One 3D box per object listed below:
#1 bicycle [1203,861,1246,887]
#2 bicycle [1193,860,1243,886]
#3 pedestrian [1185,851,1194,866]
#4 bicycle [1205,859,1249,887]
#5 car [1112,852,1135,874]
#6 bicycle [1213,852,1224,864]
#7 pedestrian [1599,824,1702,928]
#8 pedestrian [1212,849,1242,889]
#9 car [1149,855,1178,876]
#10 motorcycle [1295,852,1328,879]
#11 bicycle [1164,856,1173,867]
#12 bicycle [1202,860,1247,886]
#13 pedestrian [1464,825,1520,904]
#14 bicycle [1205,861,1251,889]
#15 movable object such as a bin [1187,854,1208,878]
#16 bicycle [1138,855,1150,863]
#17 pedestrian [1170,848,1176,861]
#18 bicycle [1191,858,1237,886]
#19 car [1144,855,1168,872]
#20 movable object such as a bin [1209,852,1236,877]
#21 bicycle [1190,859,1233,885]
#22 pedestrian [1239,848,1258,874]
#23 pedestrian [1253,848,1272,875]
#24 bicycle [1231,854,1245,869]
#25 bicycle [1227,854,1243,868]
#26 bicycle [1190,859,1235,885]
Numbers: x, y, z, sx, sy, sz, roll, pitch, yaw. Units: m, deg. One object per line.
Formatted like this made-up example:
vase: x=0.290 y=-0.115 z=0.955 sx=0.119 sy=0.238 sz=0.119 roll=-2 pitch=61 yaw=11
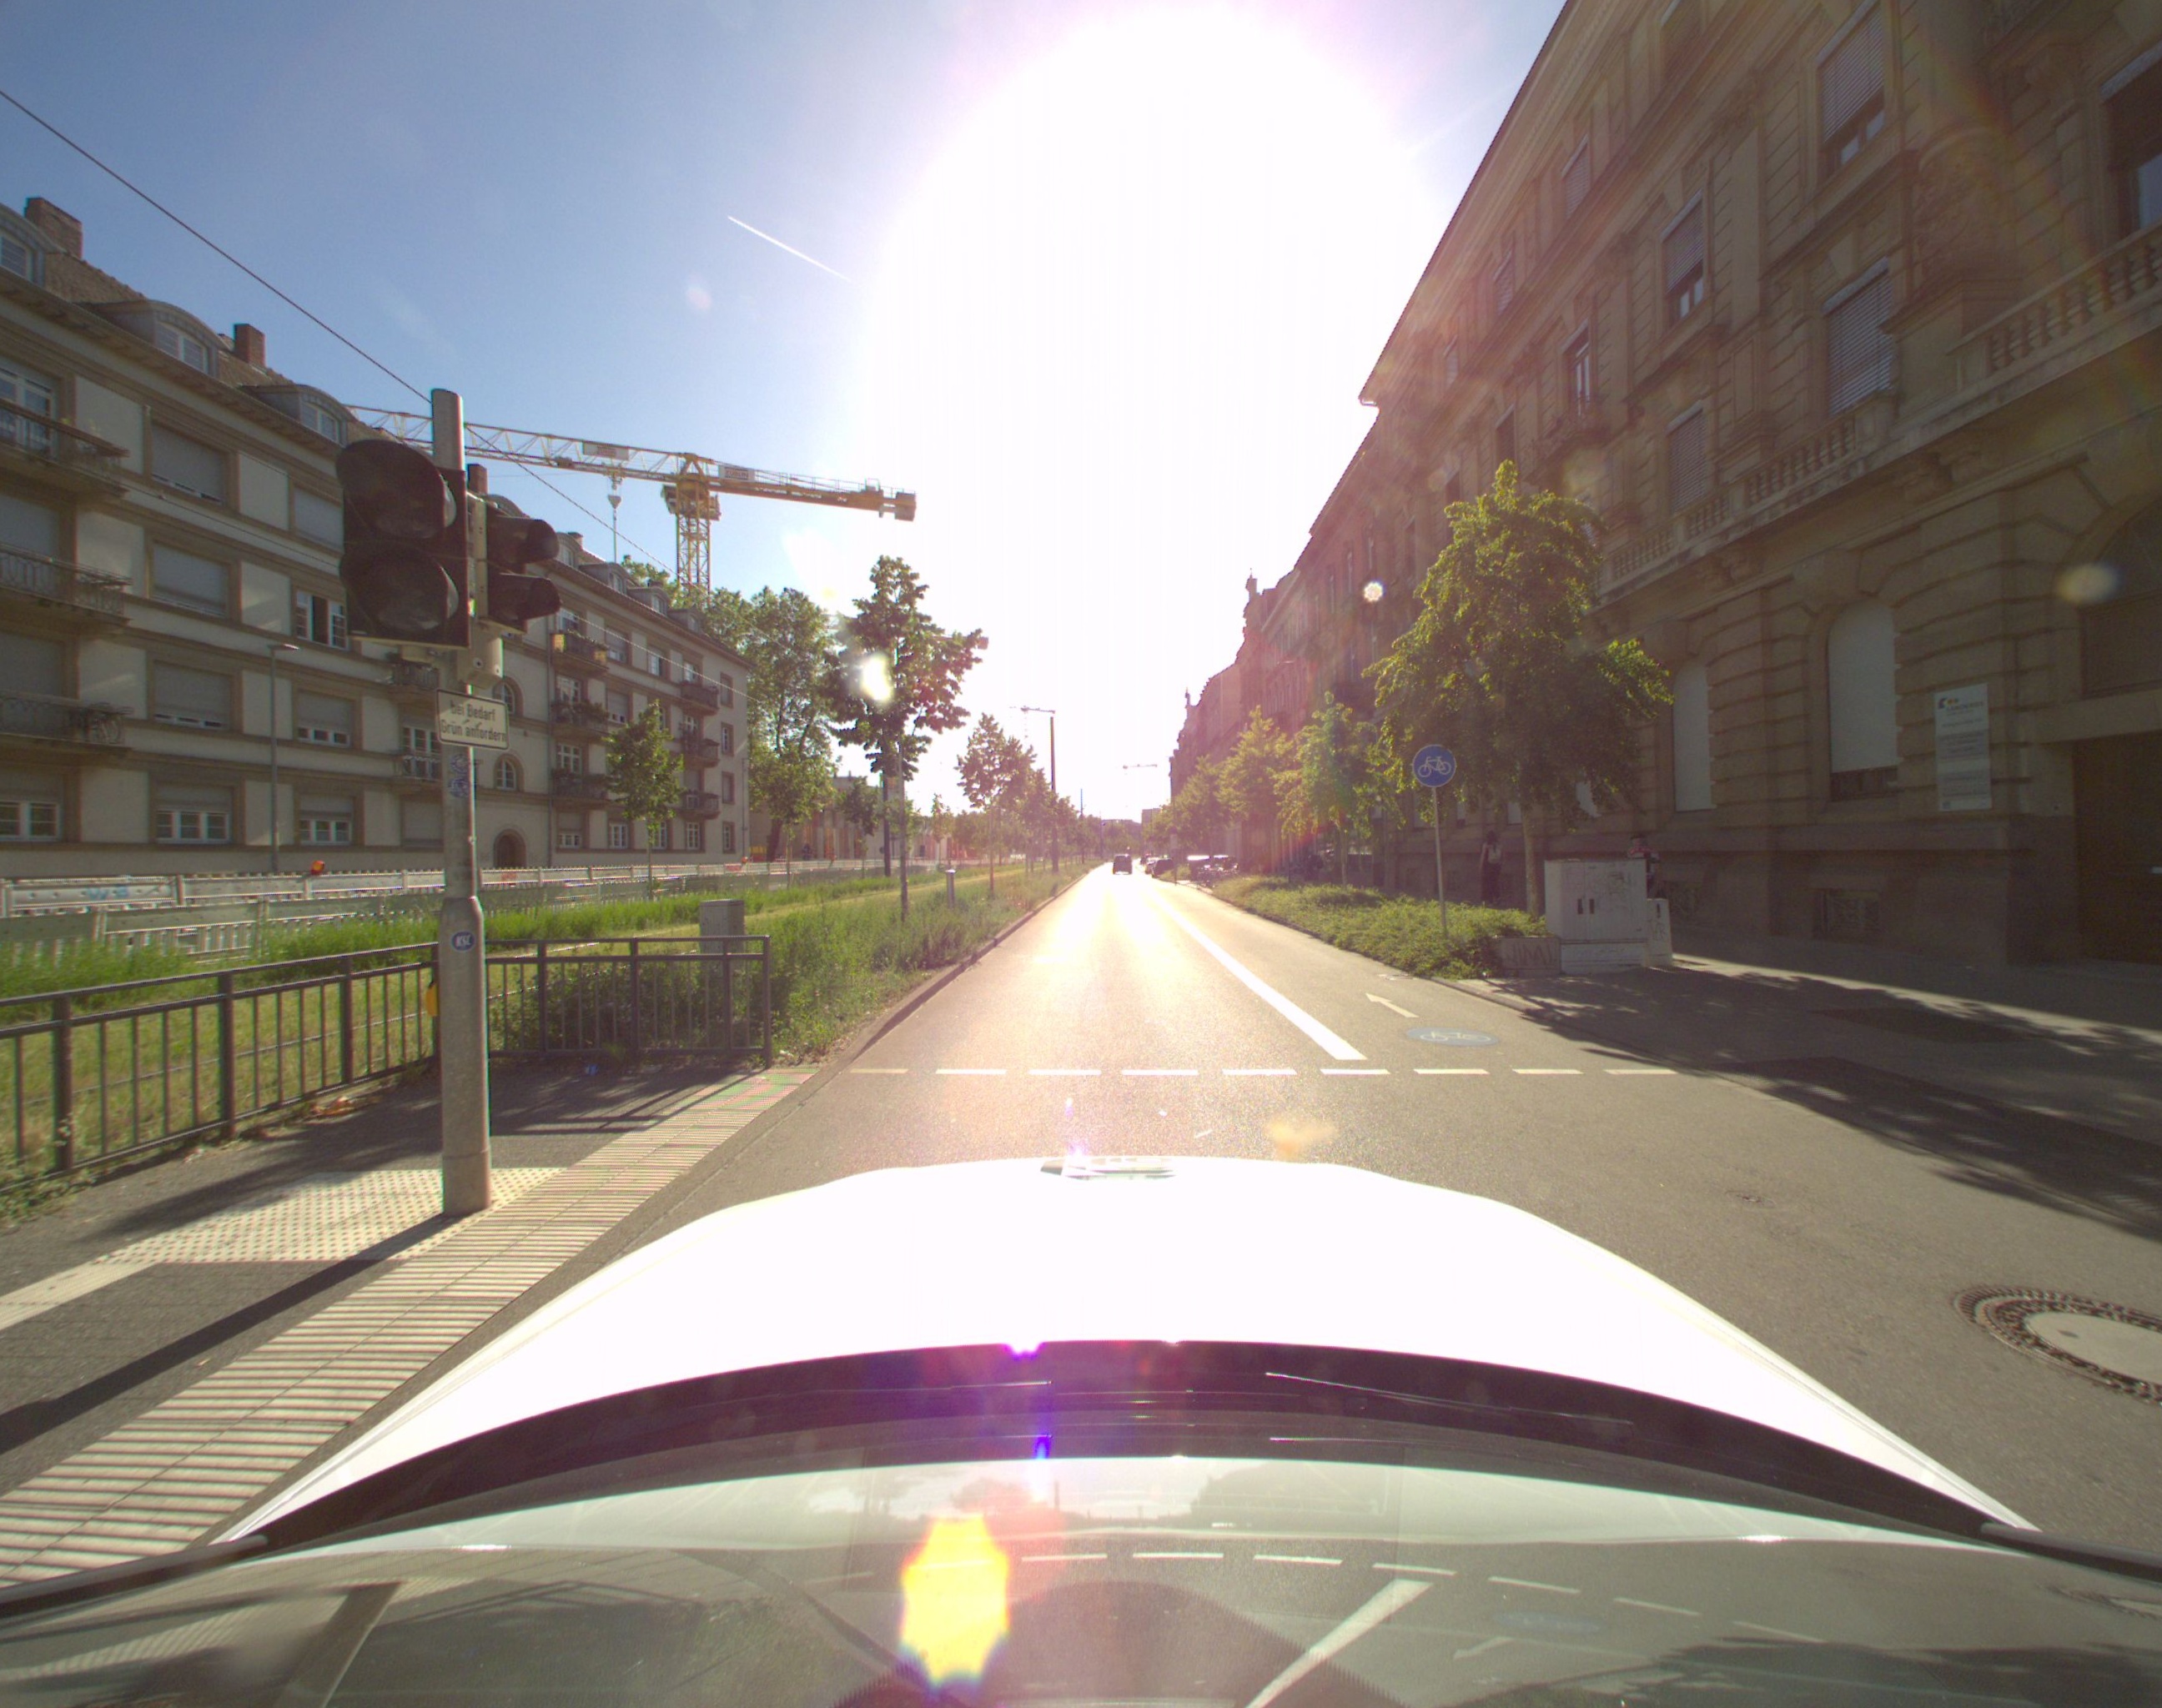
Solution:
bicycle: x=6.604 y=0.914 z=37.452 sx=1.811 sy=1.056 sz=0.571 roll=-3 pitch=-1 yaw=-4
bicycle: x=6.555 y=0.926 z=38.963 sx=2.287 sy=1.102 sz=0.484 roll=-3 pitch=-1 yaw=-13
pedestrian: x=13.175 y=0.552 z=98.881 sx=0.992 sy=1.731 sz=0.866 roll=0 pitch=-1 yaw=1
bicycle: x=6.498 y=0.858 z=36.336 sx=1.860 sy=1.179 sz=0.373 roll=-2 pitch=-1 yaw=-1
car: x=4.023 y=0.893 z=77.307 sx=1.987 sy=2.014 sz=3.999 roll=0 pitch=-1 yaw=0
bicycle: x=13.525 y=0.401 z=80.251 sx=0.718 sy=1.090 sz=2.200 roll=-2 pitch=0 yaw=2
pedestrian: x=9.947 y=0.373 z=14.268 sx=0.965 sy=1.692 sz=1.115 roll=-3 pitch=-1 yaw=3
pedestrian: x=6.724 y=0.702 z=37.587 sx=0.907 sy=1.735 sz=0.839 roll=-4 pitch=-1 yaw=-38
car: x=6.427 y=0.897 z=63.948 sx=1.760 sy=1.477 sz=4.447 roll=-4 pitch=-1 yaw=0
motorcycle: x=11.461 y=0.575 z=40.618 sx=0.862 sy=1.266 sz=2.983 roll=0 pitch=-1 yaw=2
bicycle: x=9.977 y=0.867 z=93.188 sx=0.649 sy=1.120 sz=2.169 roll=-3 pitch=-1 yaw=-3
bicycle: x=6.660 y=0.884 z=37.794 sx=1.971 sy=1.108 sz=0.435 roll=-3 pitch=-1 yaw=-1
pedestrian: x=10.510 y=0.270 z=20.862 sx=0.885 sy=1.920 sz=1.100 roll=-3 pitch=-1 yaw=7
bicycle: x=6.507 y=0.912 z=35.980 sx=1.887 sy=1.108 sz=0.517 roll=-3 pitch=-1 yaw=-4
movable object such as a bin: x=7.278 y=0.741 z=51.040 sx=1.264 sy=1.463 sz=1.647 roll=0 pitch=2 yaw=7
bicycle: x=10.306 y=0.790 z=133.981 sx=1.875 sy=1.233 sz=0.499 roll=-4 pitch=-1 yaw=-4
pedestrian: x=14.876 y=0.100 z=131.995 sx=0.814 sy=2.014 sz=1.046 roll=0 pitch=-3 yaw=2
bicycle: x=6.426 y=0.853 z=39.311 sx=2.148 sy=1.154 sz=0.428 roll=-4 pitch=0 yaw=-12
car: x=7.041 y=0.880 z=76.651 sx=1.944 sy=1.495 sz=5.108 roll=-3 pitch=0 yaw=2
movable object such as a bin: x=8.874 y=0.667 z=51.173 sx=1.368 sy=1.495 sz=1.750 roll=-4 pitch=-1 yaw=3
bicycle: x=6.526 y=0.889 z=40.802 sx=1.970 sy=1.124 sz=0.481 roll=-5 pitch=1 yaw=-4
pedestrian: x=10.478 y=0.437 z=50.967 sx=0.947 sy=1.566 sz=1.080 roll=-2 pitch=1 yaw=1
pedestrian: x=11.305 y=0.439 z=50.728 sx=0.967 sy=1.639 sz=0.993 roll=-2 pitch=1 yaw=2
bicycle: x=12.738 y=0.594 z=66.058 sx=0.745 sy=1.201 sz=1.802 roll=-2 pitch=-1 yaw=2
bicycle: x=13.032 y=0.595 z=69.119 sx=0.873 sy=1.105 sz=2.181 roll=-4 pitch=0 yaw=-1
bicycle: x=6.517 y=0.882 z=40.394 sx=2.040 sy=1.107 sz=0.610 roll=-4 pitch=-1 yaw=-4
